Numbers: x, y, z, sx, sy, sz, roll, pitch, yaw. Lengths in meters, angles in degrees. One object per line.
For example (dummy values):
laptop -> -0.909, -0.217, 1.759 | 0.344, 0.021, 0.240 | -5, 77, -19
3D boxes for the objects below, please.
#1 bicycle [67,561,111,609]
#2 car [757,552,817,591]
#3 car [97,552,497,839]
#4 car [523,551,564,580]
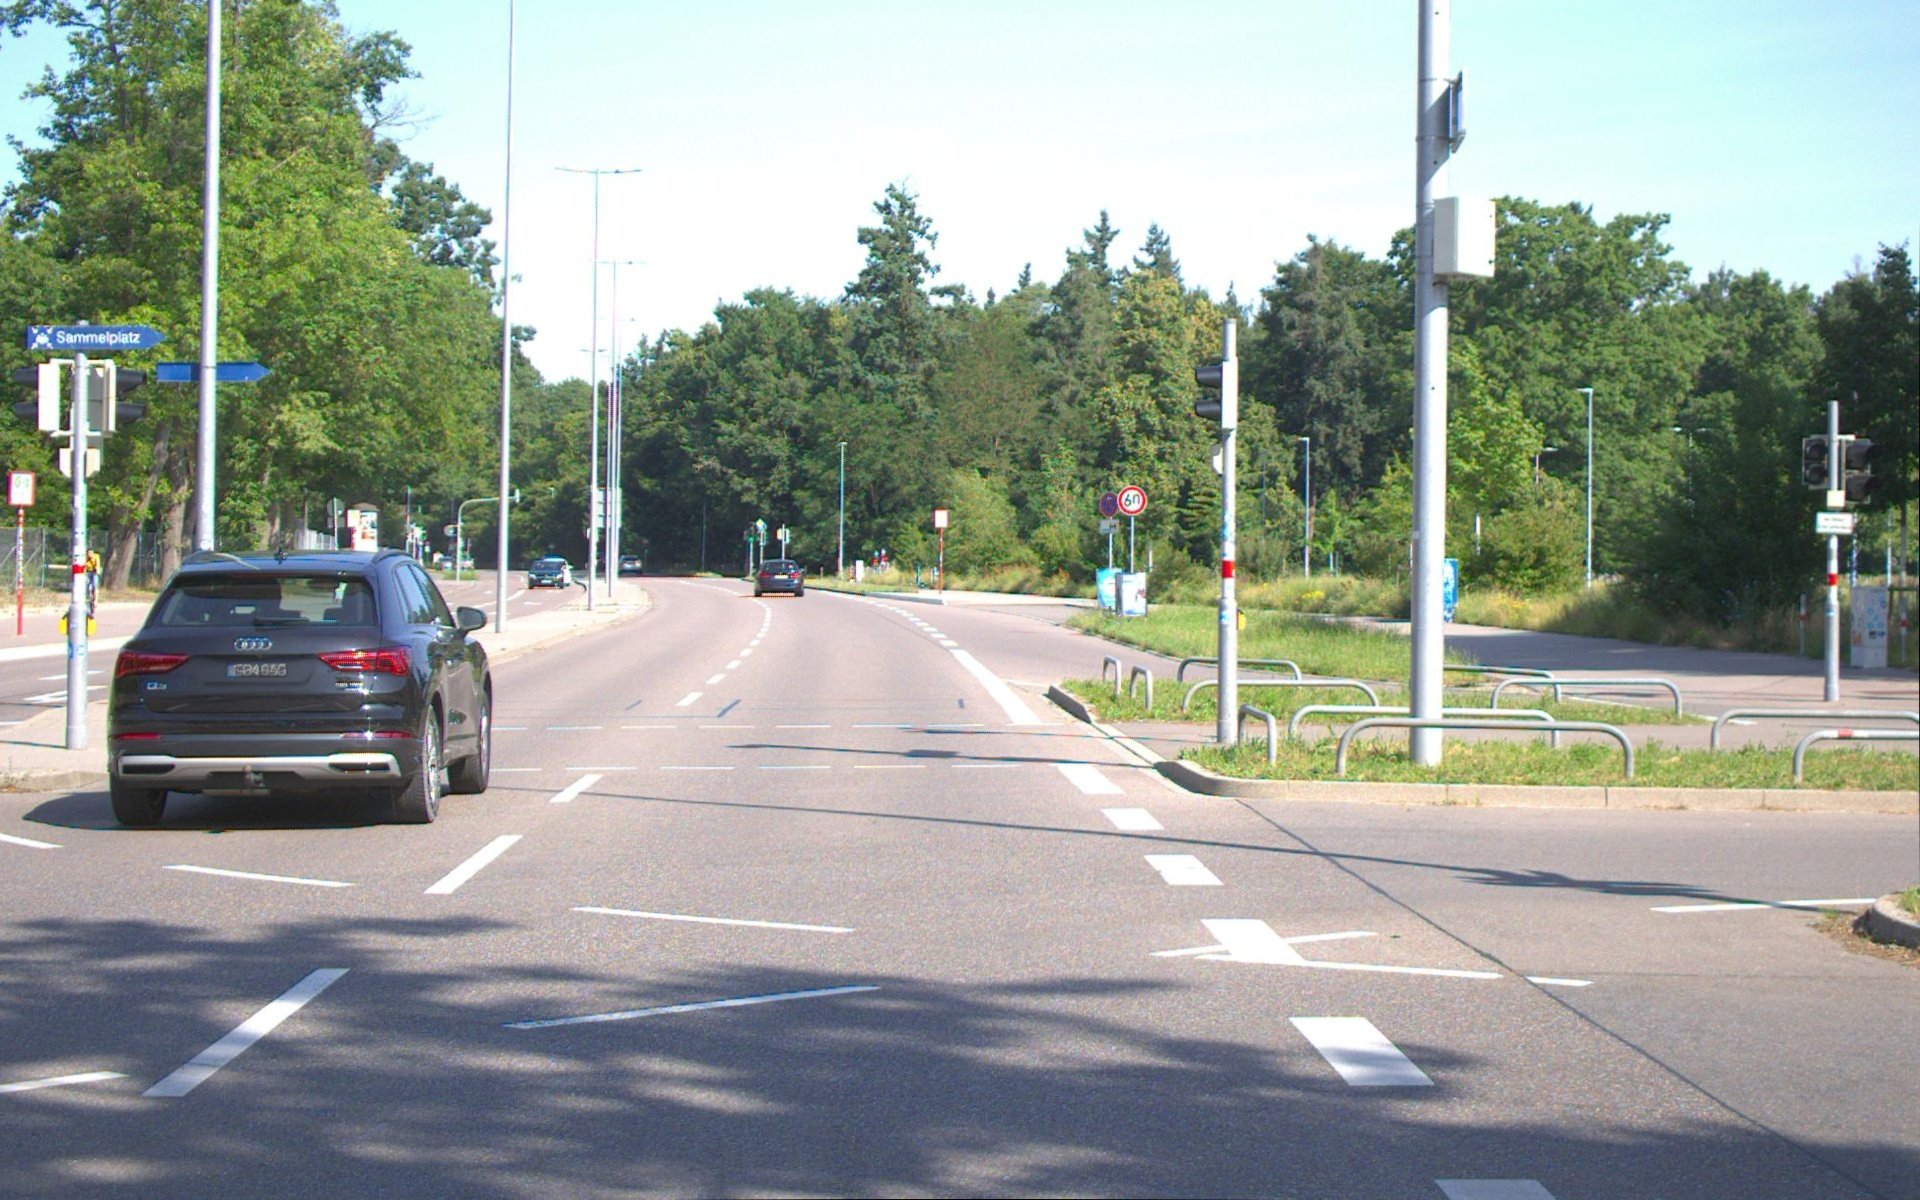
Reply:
bicycle -> -21.376, -0.372, 84.357 | 0.659, 1.132, 1.879 | 2, 1, -3
car -> -6.620, -1.098, 131.328 | 1.940, 1.415, 4.294 | 1, 1, -7
car -> -3.861, 0.485, 20.655 | 1.687, 1.539, 4.149 | 0, 1, -1
car -> -20.809, -1.711, 171.636 | 1.810, 1.383, 4.163 | -2, 1, -9
